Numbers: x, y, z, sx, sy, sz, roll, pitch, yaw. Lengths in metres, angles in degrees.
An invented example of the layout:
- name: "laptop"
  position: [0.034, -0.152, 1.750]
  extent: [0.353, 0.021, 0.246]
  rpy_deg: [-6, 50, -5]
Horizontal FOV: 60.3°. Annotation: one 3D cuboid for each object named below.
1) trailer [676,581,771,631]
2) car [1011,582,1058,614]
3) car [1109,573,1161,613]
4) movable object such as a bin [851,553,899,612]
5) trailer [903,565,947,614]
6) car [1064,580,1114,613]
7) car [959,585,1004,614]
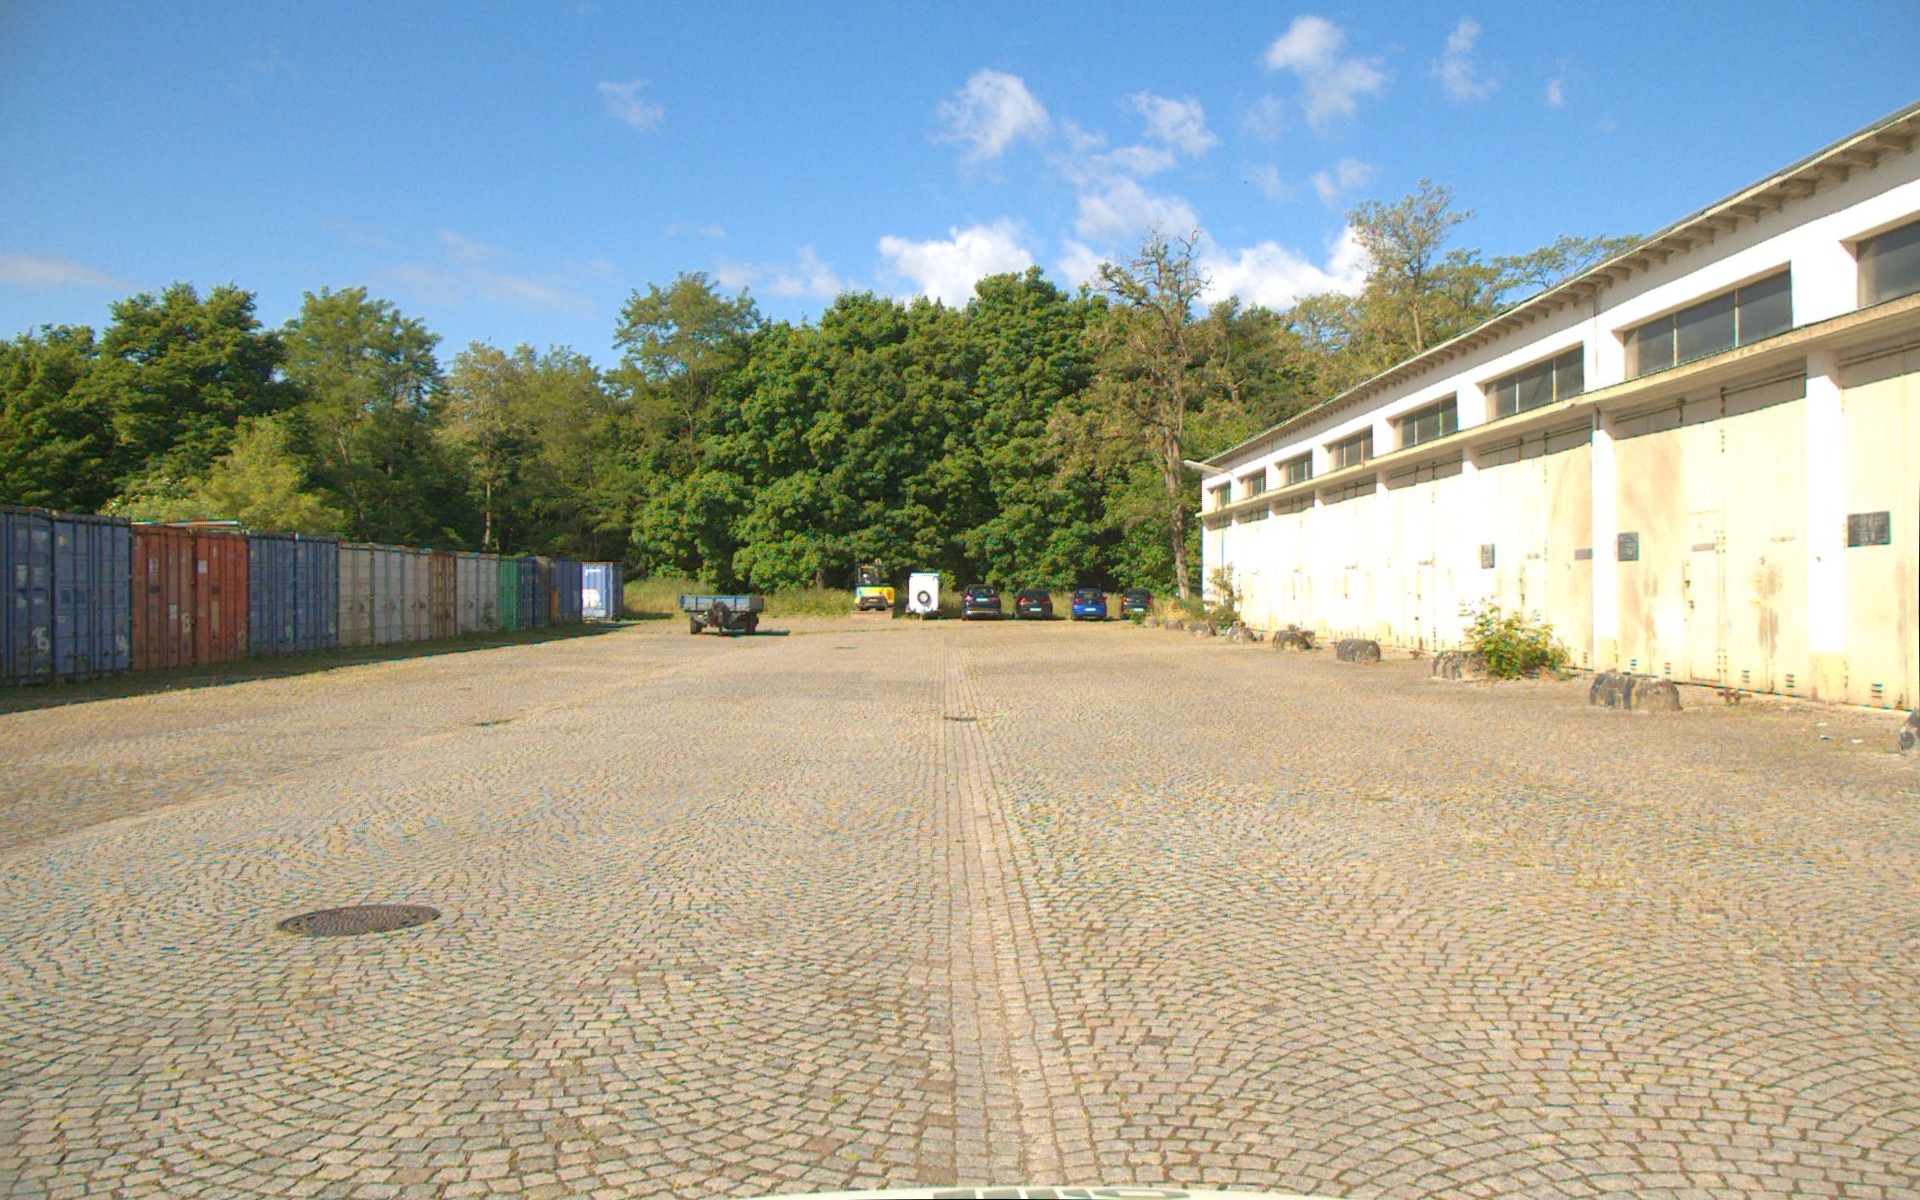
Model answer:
- name: "trailer"
  position: [-8.451, 0.195, 59.592]
  extent: [2.735, 1.675, 5.619]
  rpy_deg: [-1, 0, -2]
- name: "car"
  position: [3.460, -0.110, 77.466]
  extent: [1.953, 1.449, 3.999]
  rpy_deg: [-1, 0, -1]
- name: "car"
  position: [8.298, -0.352, 78.772]
  extent: [1.953, 1.803, 3.999]
  rpy_deg: [-1, 0, -1]
- name: "movable object such as a bin"
  position: [-4.074, -0.843, 78.967]
  extent: [2.187, 2.703, 3.998]
  rpy_deg: [-1, 0, -3]
- name: "trailer"
  position: [-1.647, -0.501, 78.248]
  extent: [1.953, 2.200, 4.431]
  rpy_deg: [-1, 0, -1]
- name: "car"
  position: [5.999, -0.186, 77.493]
  extent: [1.953, 1.491, 3.999]
  rpy_deg: [-1, 0, -1]
- name: "car"
  position: [0.988, -0.045, 77.055]
  extent: [1.953, 1.280, 3.999]
  rpy_deg: [-1, 0, -1]
